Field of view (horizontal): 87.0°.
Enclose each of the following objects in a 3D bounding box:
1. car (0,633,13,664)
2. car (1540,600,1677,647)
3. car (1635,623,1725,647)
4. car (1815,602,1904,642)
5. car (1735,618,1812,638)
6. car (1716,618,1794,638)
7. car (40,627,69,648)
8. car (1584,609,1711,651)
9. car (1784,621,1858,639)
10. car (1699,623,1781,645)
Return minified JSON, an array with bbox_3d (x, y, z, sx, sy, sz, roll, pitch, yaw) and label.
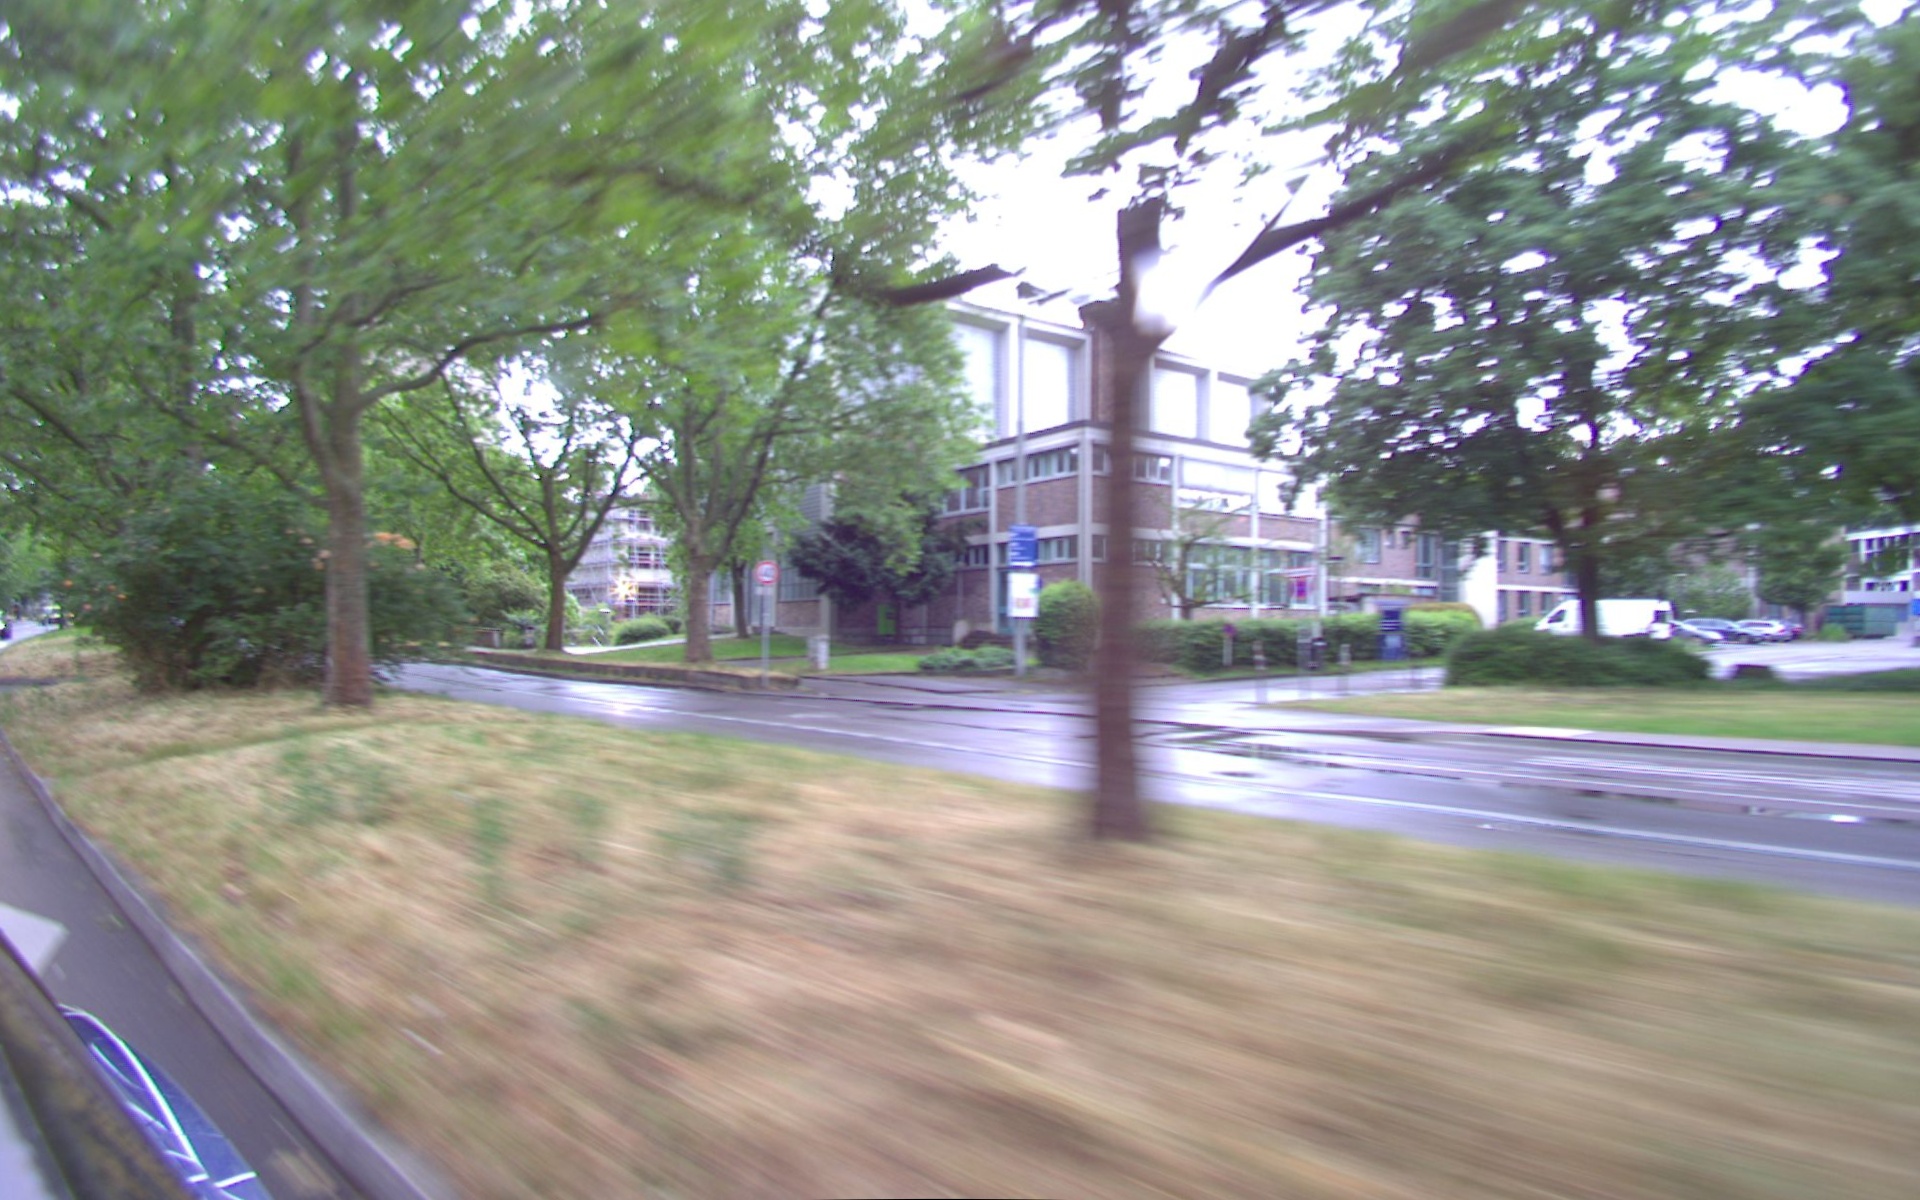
[{"bbox_3d":[-56.056,2.794,58.269,1.805,1.620,4.586,-1,0,-38],"label":"car"},{"bbox_3d":[32.710,1.110,51.223,2.079,2.229,5.484,-1,0,-31],"label":"car"},{"bbox_3d":[38.715,1.856,54.477,1.662,1.151,3.565,-1,0,-35],"label":"car"},{"bbox_3d":[68.820,1.612,77.409,6.357,2.838,3.608,-1,0,-34],"label":"car"},{"bbox_3d":[52.342,1.792,65.163,1.566,1.151,3.565,-1,0,-35],"label":"car"},{"bbox_3d":[50.011,1.756,63.715,1.566,1.151,3.565,-1,0,-35],"label":"car"},{"bbox_3d":[-86.392,3.594,96.596,1.856,1.890,4.750,-2,0,-39],"label":"car"},{"bbox_3d":[36.203,1.506,53.412,2.250,2.037,5.092,-1,0,-34],"label":"car"},{"bbox_3d":[58.722,2.028,69.052,1.566,1.151,3.565,-1,0,-35],"label":"car"},{"bbox_3d":[46.685,2.031,60.641,1.566,1.151,3.565,-1,0,-35],"label":"car"}]
